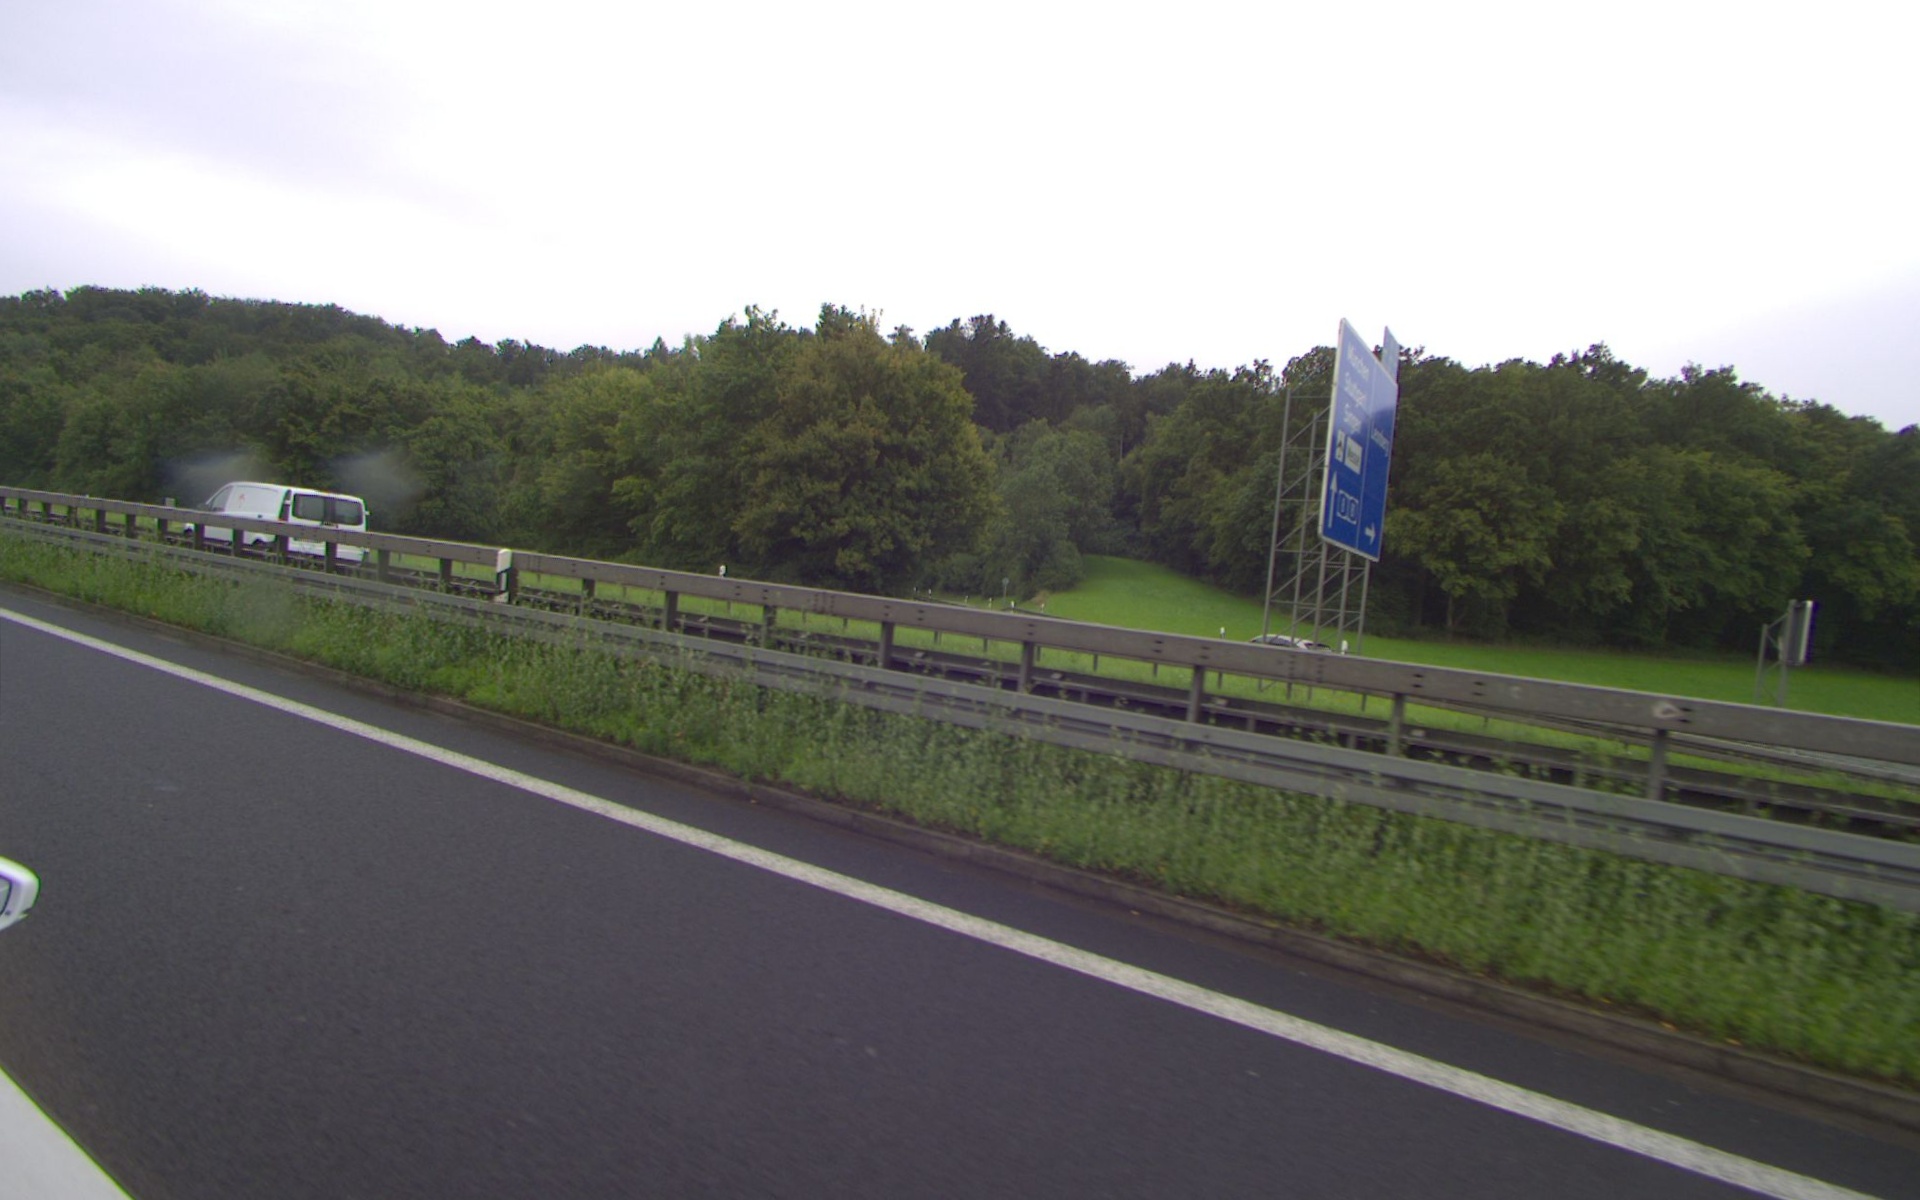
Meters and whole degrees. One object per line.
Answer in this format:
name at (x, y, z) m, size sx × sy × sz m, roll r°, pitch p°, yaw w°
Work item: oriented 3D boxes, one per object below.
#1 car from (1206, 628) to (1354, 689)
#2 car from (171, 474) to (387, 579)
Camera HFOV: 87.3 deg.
car at (10.776, 1.926, 34.231) m, size 1.883 × 1.472 × 4.677 m, roll 7°, pitch -1°, yaw -28°
car at (-14.494, -1.572, 21.362) m, size 4.640 × 1.714 × 1.912 m, roll 6°, pitch 0°, yaw 31°
